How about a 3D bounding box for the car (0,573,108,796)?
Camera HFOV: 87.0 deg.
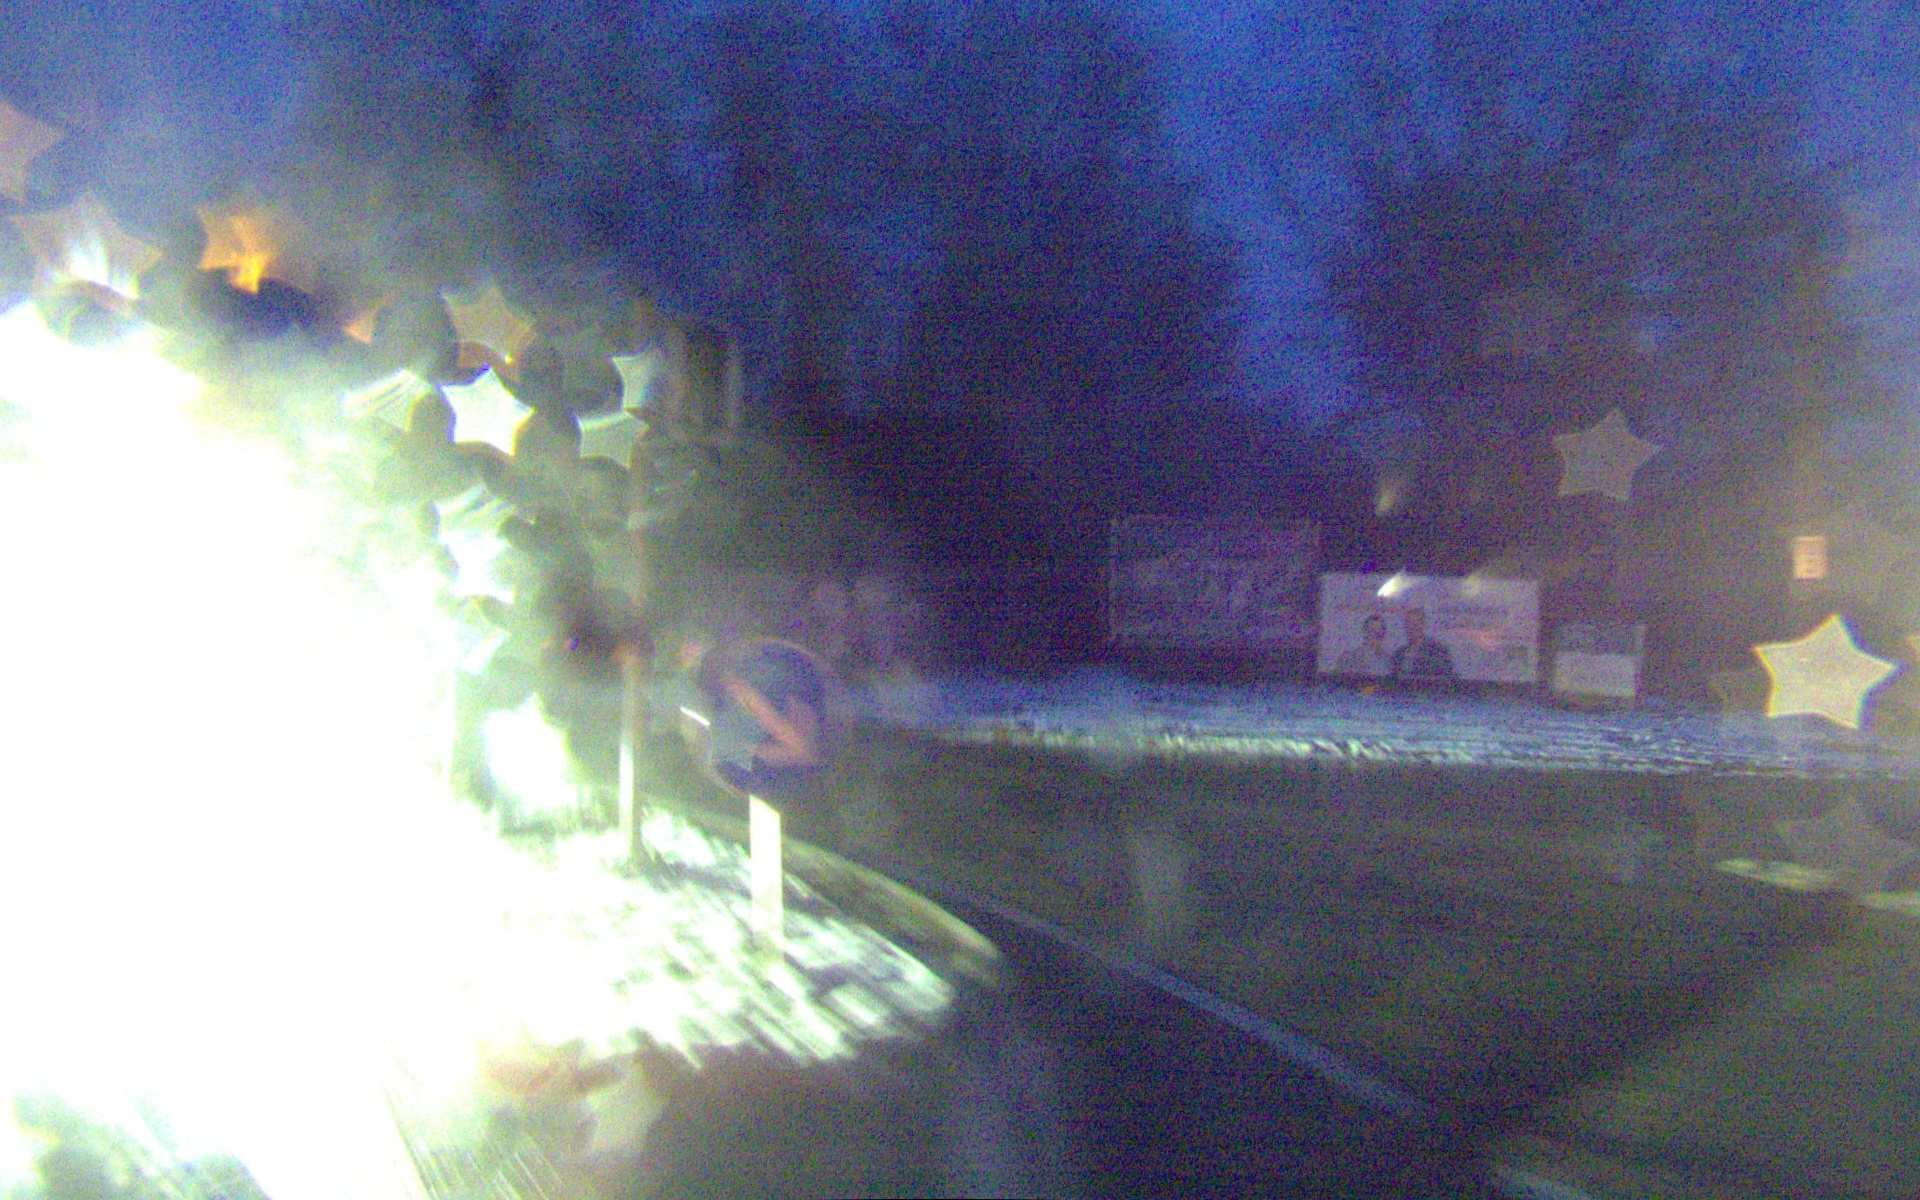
[{"bbox_3d":[-8.972,0.662,9.200,1.865,1.701,4.346,0,0,-40],"label":"car"}]
